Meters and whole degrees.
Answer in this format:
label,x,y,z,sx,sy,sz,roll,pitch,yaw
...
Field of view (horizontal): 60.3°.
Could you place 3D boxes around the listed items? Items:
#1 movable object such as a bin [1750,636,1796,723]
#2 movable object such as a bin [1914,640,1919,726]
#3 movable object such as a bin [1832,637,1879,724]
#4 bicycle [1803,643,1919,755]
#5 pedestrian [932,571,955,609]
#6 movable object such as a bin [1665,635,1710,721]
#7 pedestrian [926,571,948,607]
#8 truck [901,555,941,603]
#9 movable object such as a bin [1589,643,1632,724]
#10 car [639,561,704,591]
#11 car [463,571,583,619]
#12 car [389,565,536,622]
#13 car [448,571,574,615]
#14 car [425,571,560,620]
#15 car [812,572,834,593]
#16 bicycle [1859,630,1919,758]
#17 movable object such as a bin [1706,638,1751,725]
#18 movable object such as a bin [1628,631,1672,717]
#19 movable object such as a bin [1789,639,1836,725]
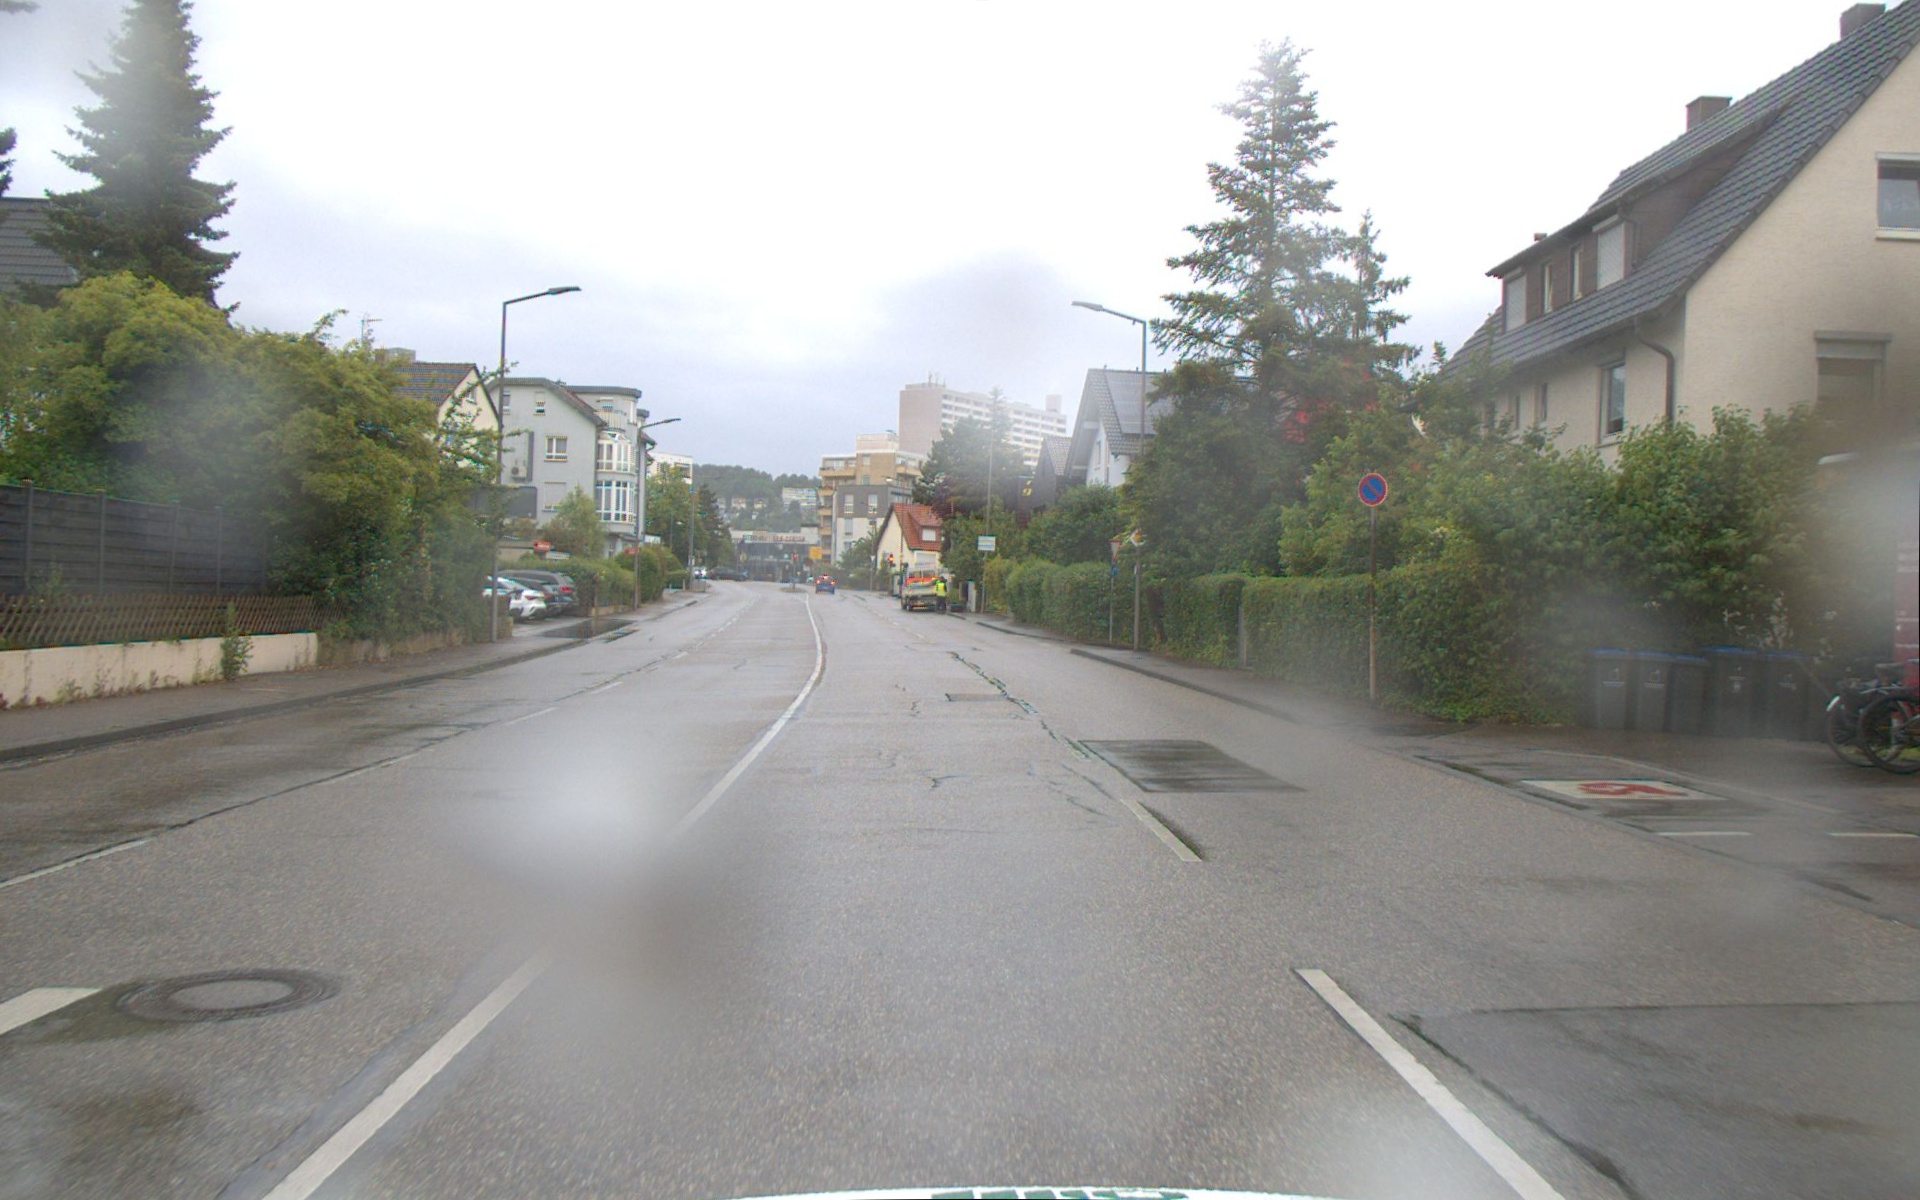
label,x,y,z,sx,sy,sz,roll,pitch,yaw
movable object such as a bin,9.668,0.940,19.671,0.359,1.004,0.355,0,0,-3
movable object such as a bin,11.485,0.978,19.409,0.359,1.004,0.355,0,0,-3
movable object such as a bin,10.668,0.954,19.701,0.359,1.004,0.355,0,0,-3
bicycle,8.614,0.882,14.996,1.611,0.950,0.623,-3,-1,19
pedestrian,-0.801,-0.469,79.879,0.812,1.828,0.795,1,0,-23
movable object such as a bin,8.625,0.917,19.615,0.359,1.004,0.355,0,0,-4
pedestrian,-1.120,-0.541,80.680,0.811,1.756,0.835,1,0,-23
truck,-1.990,-1.065,84.562,1.953,2.343,3.999,1,1,-2
movable object such as a bin,7.684,0.986,19.542,0.359,0.932,0.327,0,0,-3
car,-22.132,-1.825,126.973,4.426,2.048,2.002,3,0,9
car,-16.203,-0.175,61.441,3.902,1.716,1.810,1,0,13
car,-15.832,-0.200,52.754,4.015,1.612,1.956,3,0,-1
car,-15.767,-0.256,58.184,3.904,1.471,1.706,1,0,2
car,-15.640,-0.160,55.488,3.905,1.459,1.971,3,1,1
car,-11.547,-1.452,139.417,1.759,1.699,3.997,1,0,-4
bicycle,8.754,0.778,14.275,1.611,1.066,0.623,-3,-1,19
movable object such as a bin,9.117,0.964,19.630,0.359,1.004,0.355,0,0,-4
movable object such as a bin,8.171,0.873,19.585,0.359,1.004,0.355,0,0,-4
movable object such as a bin,10.148,0.973,19.693,0.359,1.004,0.355,0,0,-3
